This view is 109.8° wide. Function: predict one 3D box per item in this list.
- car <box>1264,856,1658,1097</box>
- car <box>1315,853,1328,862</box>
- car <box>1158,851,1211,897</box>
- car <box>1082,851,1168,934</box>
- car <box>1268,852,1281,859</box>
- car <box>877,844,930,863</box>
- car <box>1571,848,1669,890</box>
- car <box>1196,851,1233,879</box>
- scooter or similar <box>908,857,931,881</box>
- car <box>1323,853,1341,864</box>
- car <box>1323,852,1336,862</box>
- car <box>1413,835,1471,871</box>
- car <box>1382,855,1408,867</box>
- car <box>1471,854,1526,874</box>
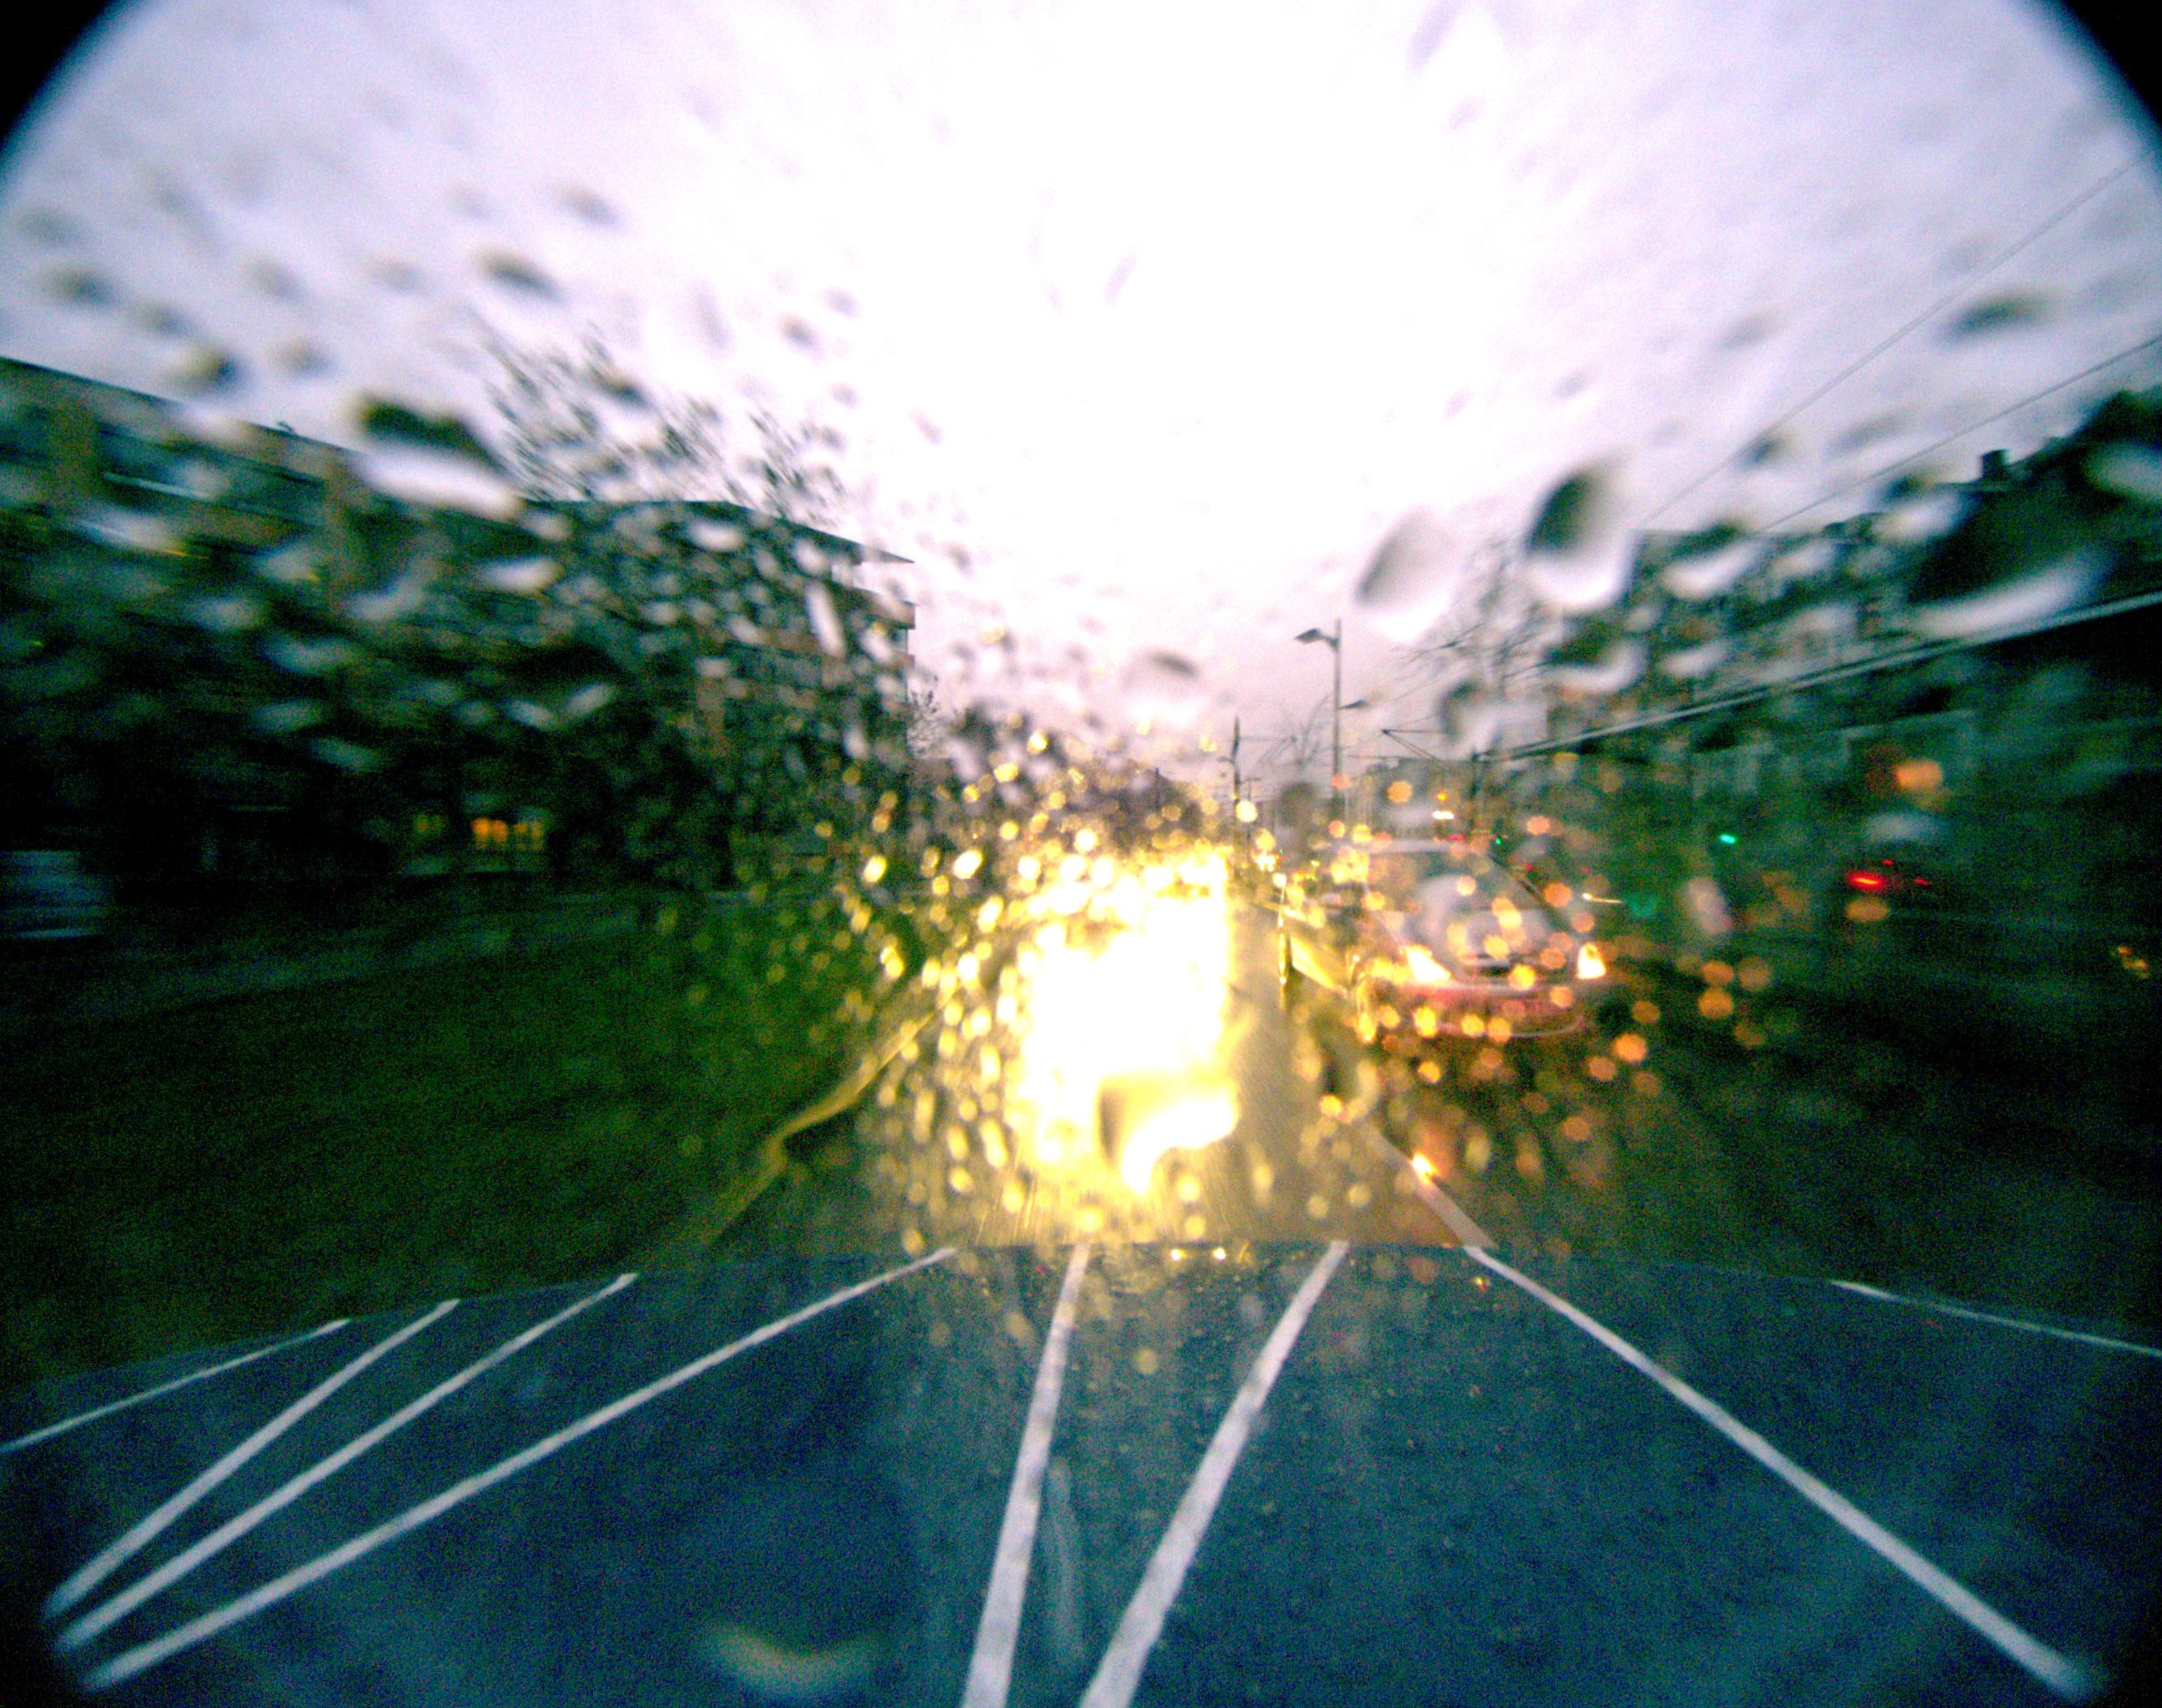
[{"bbox_3d":[2.938,0.796,6.956,1.649,1.539,4.110,0,0,2],"label":"car"},{"bbox_3d":[41.857,0.622,132.370,1.996,1.635,4.005,1,0,15],"label":"car"},{"bbox_3d":[3.733,0.677,27.684,1.752,1.535,4.002,1,0,7],"label":"car"},{"bbox_3d":[0.875,0.741,16.653,1.649,1.575,3.804,-1,0,0],"label":"car"},{"bbox_3d":[38.634,0.235,152.073,1.648,1.441,3.851,0,0,0],"label":"car"},{"bbox_3d":[-16.742,-0.040,71.860,4.510,1.660,1.999,1,0,-3],"label":"car"},{"bbox_3d":[26.341,0.714,37.296,1.998,1.929,3.943,1,0,1],"label":"car"},{"bbox_3d":[8.906,0.733,50.475,1.816,1.732,4.192,1,0,18],"label":"car"},{"bbox_3d":[-8.211,0.753,38.593,1.146,1.224,0.487,0,0,-15],"label":"scooter or similar"},{"bbox_3d":[40.120,0.711,121.392,1.997,1.635,4.002,1,0,7],"label":"car"},{"bbox_3d":[45.435,0.524,138.737,1.996,1.635,4.005,1,0,15],"label":"car"},{"bbox_3d":[24.591,-0.060,52.002,1.997,2.296,5.269,1,0,7],"label":"car"},{"bbox_3d":[36.516,0.827,88.447,1.683,1.346,4.390,0,0,7],"label":"car"},{"bbox_3d":[27.077,0.611,49.459,1.540,1.219,4.088,1,0,4],"label":"car"}]
